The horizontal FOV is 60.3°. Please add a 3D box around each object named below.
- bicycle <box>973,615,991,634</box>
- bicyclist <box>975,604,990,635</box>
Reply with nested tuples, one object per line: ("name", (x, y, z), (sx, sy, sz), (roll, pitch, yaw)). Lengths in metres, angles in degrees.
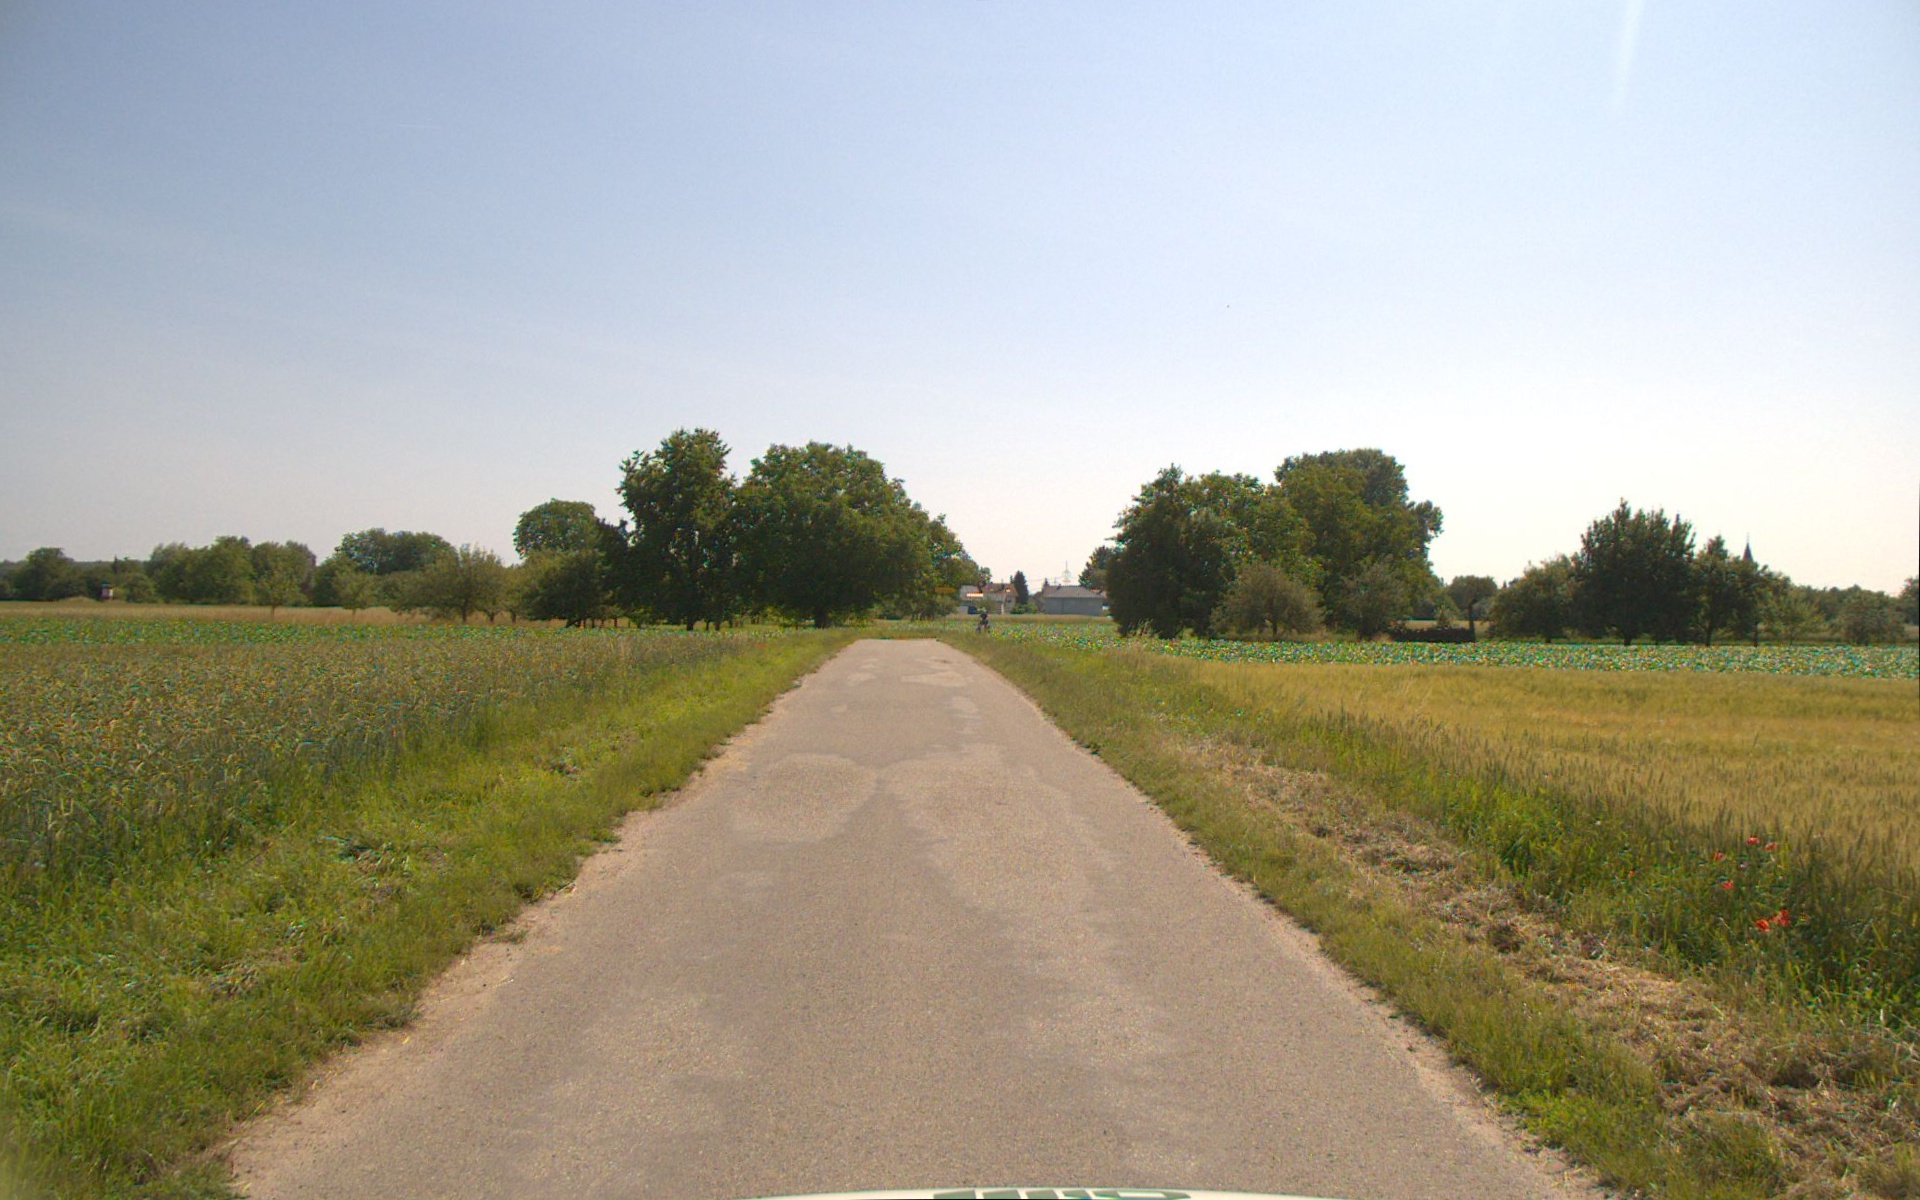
("bicycle", (1.339, 1.463, 98.629), (0.734, 1.147, 1.910), (-1, -1, 11))
("bicyclist", (1.338, 1.136, 98.637), (0.734, 1.823, 0.717), (-1, -1, 11))
